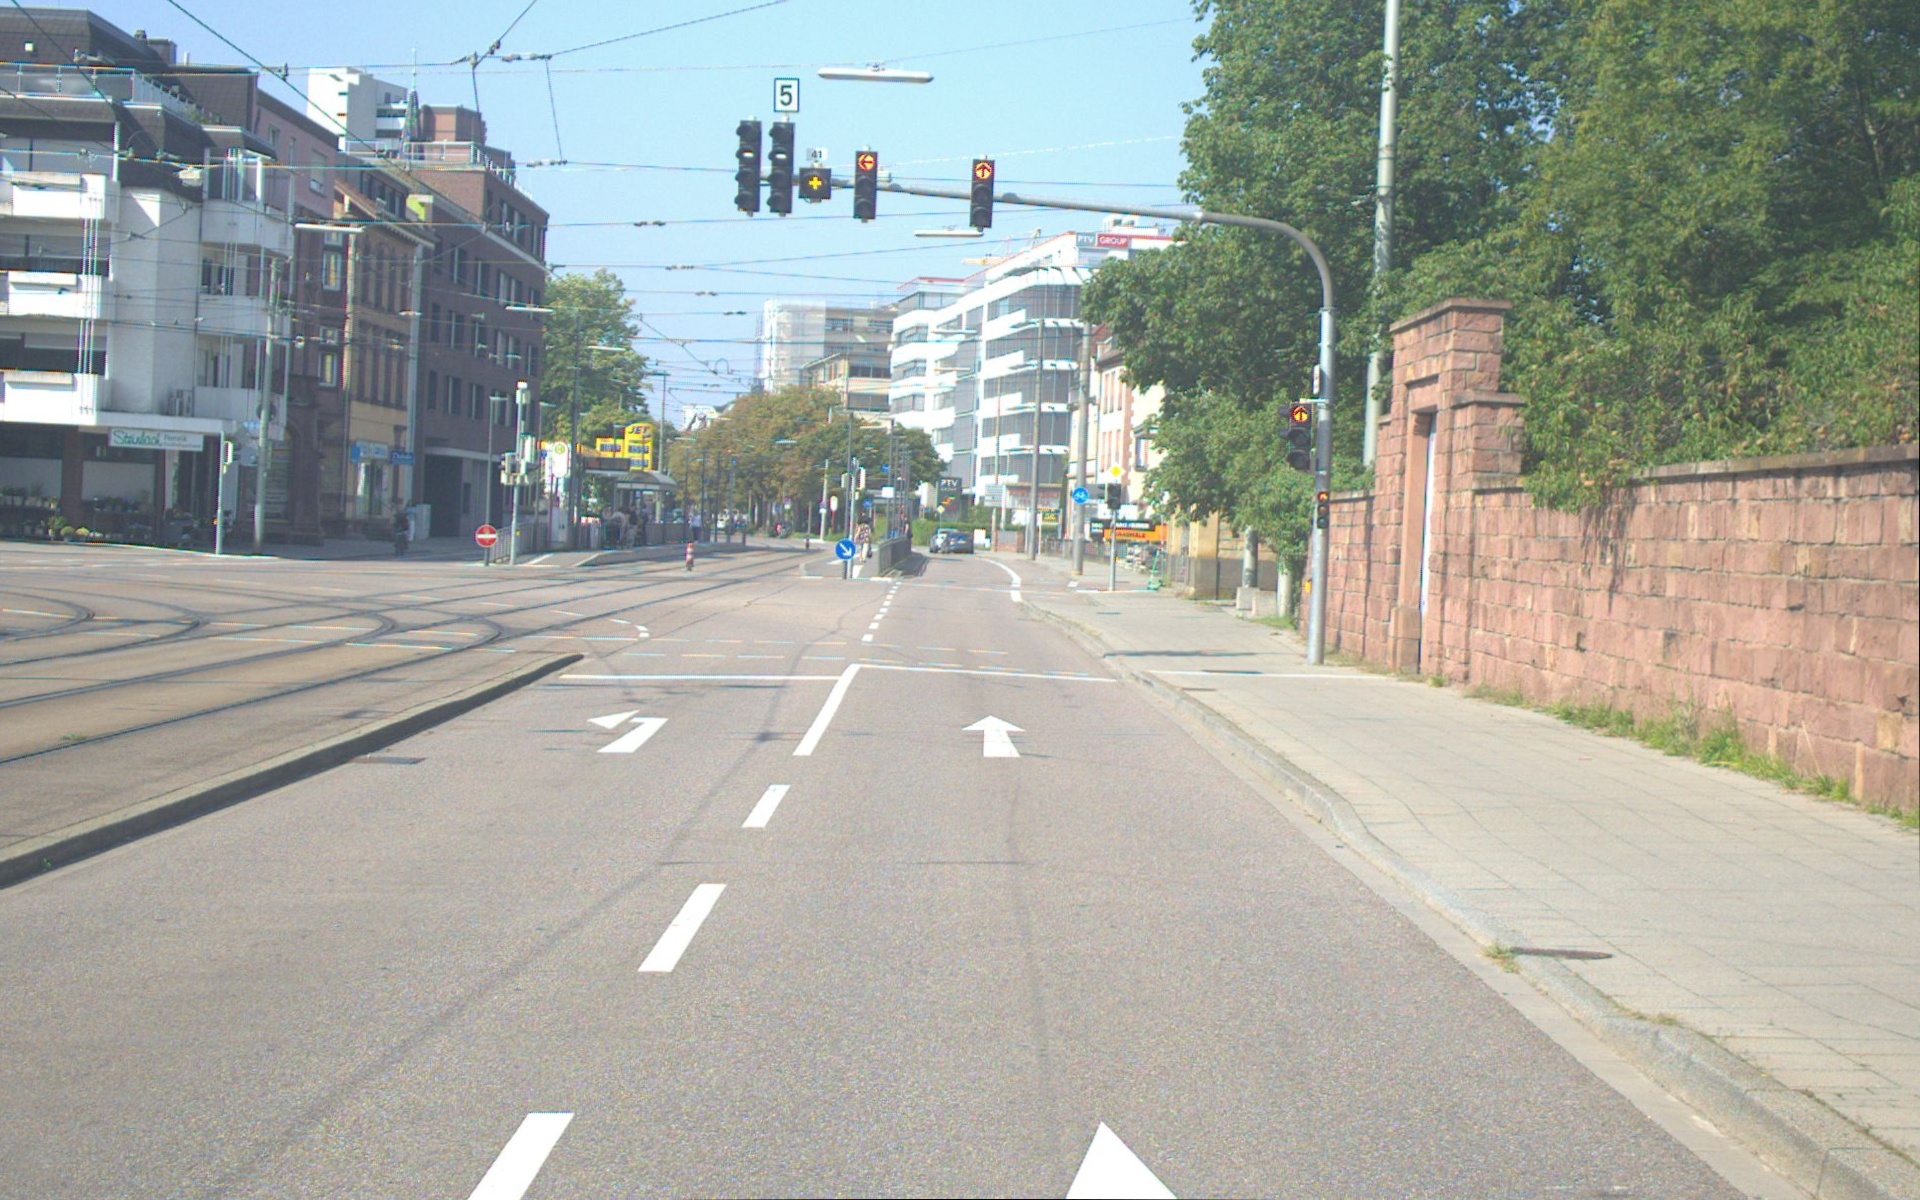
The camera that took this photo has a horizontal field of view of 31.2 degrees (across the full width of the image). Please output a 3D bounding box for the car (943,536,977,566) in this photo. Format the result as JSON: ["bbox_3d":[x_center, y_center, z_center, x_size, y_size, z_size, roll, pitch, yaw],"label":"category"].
[{"bbox_3d":[0.021,-3.102,218.399,2.011,1.852,4.000,1,1,1],"label":"car"}]

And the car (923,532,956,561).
[{"bbox_3d":[-1.313,-3.491,224.456,2.011,1.852,4.000,1,1,1],"label":"car"}]

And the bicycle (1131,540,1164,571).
[{"bbox_3d":[7.014,-1.669,128.875,0.731,1.129,2.840,-1,1,-7],"label":"bicycle"}]

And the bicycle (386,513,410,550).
[{"bbox_3d":[-18.393,-2.252,112.578,0.575,1.175,2.208,1,1,-4],"label":"bicycle"}]
